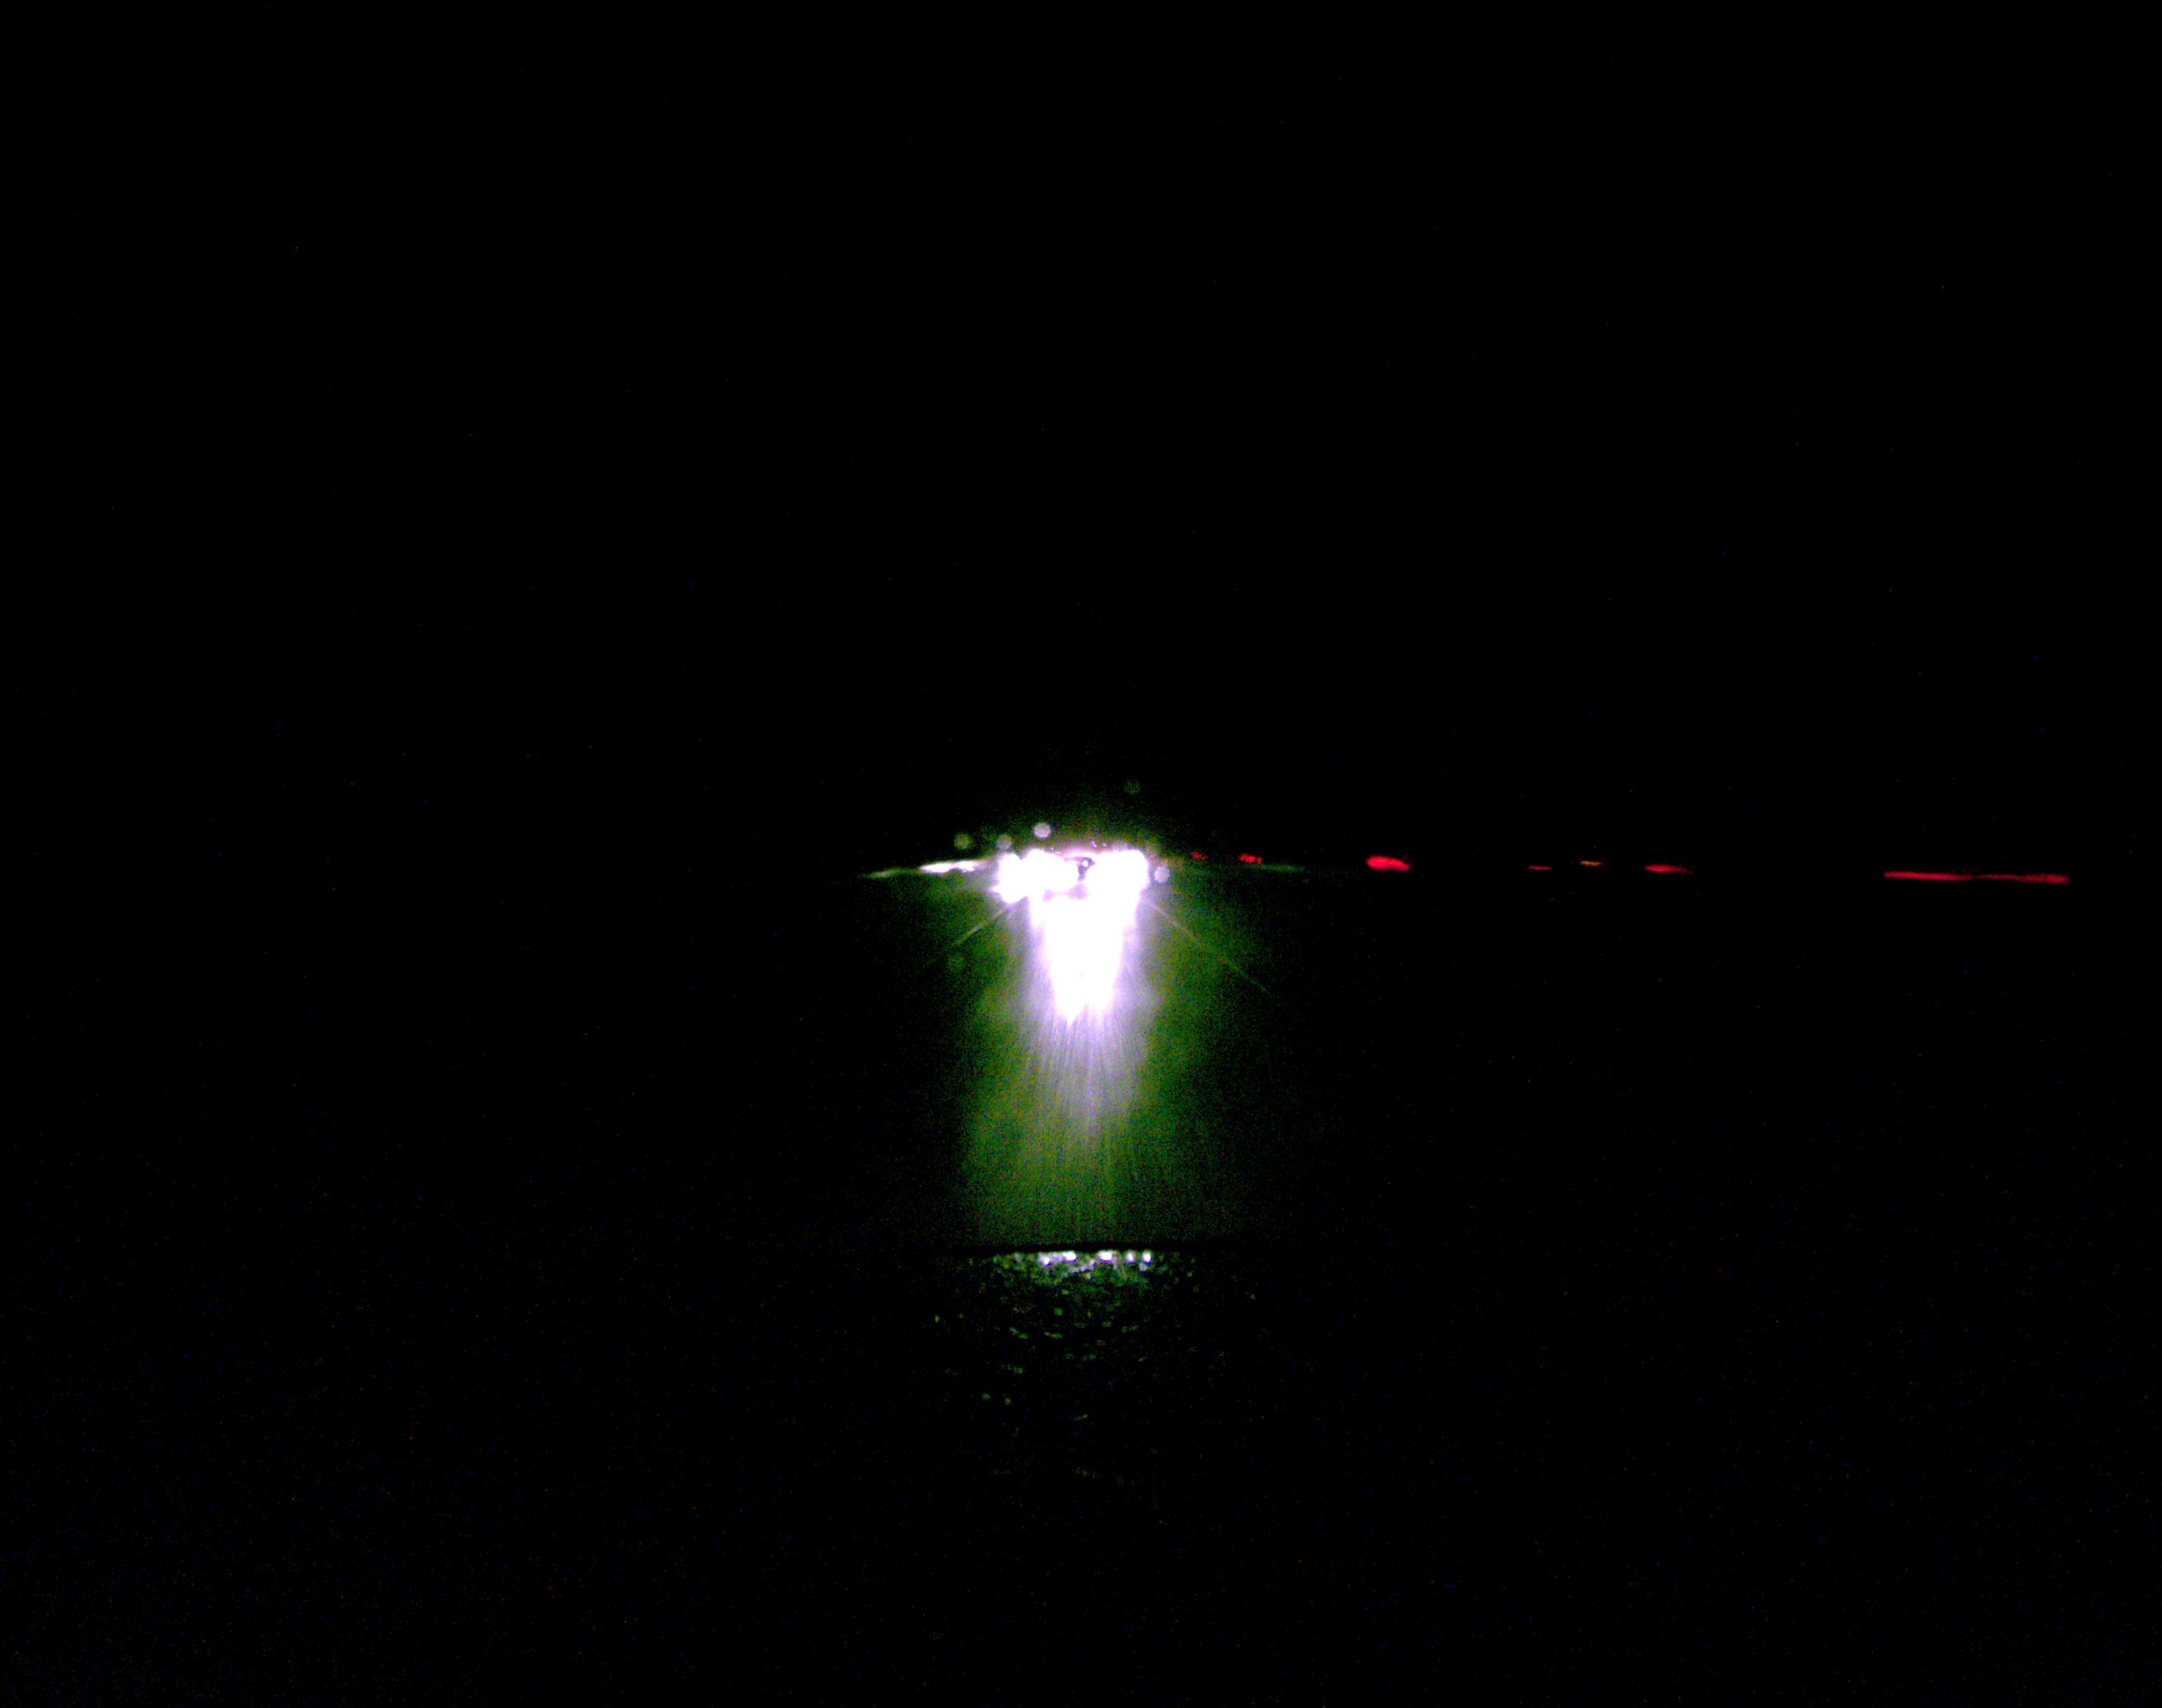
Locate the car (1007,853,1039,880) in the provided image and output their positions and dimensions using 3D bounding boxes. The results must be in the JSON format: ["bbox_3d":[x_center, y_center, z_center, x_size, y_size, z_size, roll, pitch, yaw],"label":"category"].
[{"bbox_3d":[-3.936,0.846,52.069,1.792,1.681,3.999,-2,1,0],"label":"car"}]

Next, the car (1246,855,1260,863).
[{"bbox_3d":[32.267,0.898,142.558,1.688,1.494,3.766,-2,1,1],"label":"car"}]

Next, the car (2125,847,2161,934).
[{"bbox_3d":[19.964,0.655,11.905,1.661,1.504,4.047,-2,1,0],"label":"car"}]

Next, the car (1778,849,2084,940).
[{"bbox_3d":[16.564,0.683,15.167,1.661,1.504,3.999,-2,1,0],"label":"car"}]

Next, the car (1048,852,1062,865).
[{"bbox_3d":[-4.049,0.728,118.320,1.998,1.852,3.999,-2,1,0],"label":"car"}]

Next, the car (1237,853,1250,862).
[{"bbox_3d":[33.941,0.676,159.003,1.874,1.701,3.813,-2,1,1],"label":"car"}]

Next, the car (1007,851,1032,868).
[{"bbox_3d":[-6.382,0.570,79.347,1.998,1.590,4.652,-2,1,2],"label":"car"}]

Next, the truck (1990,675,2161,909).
[{"bbox_3d":[24.447,-1.348,15.621,3.798,4.881,6.477,-2,1,0],"label":"truck"}]

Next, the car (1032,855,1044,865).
[{"bbox_3d":[-7.443,0.977,132.721,1.755,1.563,3.999,-2,1,0],"label":"car"}]

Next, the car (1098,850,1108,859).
[{"bbox_3d":[4.277,0.074,147.791,1.800,1.728,3.999,-2,1,0],"label":"car"}]

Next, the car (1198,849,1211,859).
[{"bbox_3d":[25.196,0.014,154.867,1.912,1.895,4.144,-2,1,1],"label":"car"}]

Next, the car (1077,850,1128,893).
[{"bbox_3d":[0.869,0.683,32.587,1.960,1.655,4.915,-2,0,0],"label":"car"}]

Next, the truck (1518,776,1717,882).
[{"bbox_3d":[32.329,-1.421,46.950,3.247,5.559,12.793,-2,1,0],"label":"truck"}]

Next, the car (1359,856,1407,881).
[{"bbox_3d":[20.563,0.954,51.911,1.661,1.504,3.999,-2,1,0],"label":"car"}]

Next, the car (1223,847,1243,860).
[{"bbox_3d":[20.983,-0.059,105.060,1.724,1.744,4.396,-2,1,-1],"label":"car"}]

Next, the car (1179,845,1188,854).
[{"bbox_3d":[33.662,-1.516,249.577,2.159,2.877,4.719,-2,1,2],"label":"car"}]

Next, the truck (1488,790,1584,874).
[{"bbox_3d":[32.314,-1.517,54.238,3.247,5.560,5.877,-2,1,0],"label":"truck"}]

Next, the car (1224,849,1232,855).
[{"bbox_3d":[47.837,-0.641,248.032,1.894,1.778,4.174,-2,1,2],"label":"car"}]

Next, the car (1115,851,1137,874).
[{"bbox_3d":[3.728,0.682,63.717,1.611,1.775,3.910,-2,1,0],"label":"car"}]
